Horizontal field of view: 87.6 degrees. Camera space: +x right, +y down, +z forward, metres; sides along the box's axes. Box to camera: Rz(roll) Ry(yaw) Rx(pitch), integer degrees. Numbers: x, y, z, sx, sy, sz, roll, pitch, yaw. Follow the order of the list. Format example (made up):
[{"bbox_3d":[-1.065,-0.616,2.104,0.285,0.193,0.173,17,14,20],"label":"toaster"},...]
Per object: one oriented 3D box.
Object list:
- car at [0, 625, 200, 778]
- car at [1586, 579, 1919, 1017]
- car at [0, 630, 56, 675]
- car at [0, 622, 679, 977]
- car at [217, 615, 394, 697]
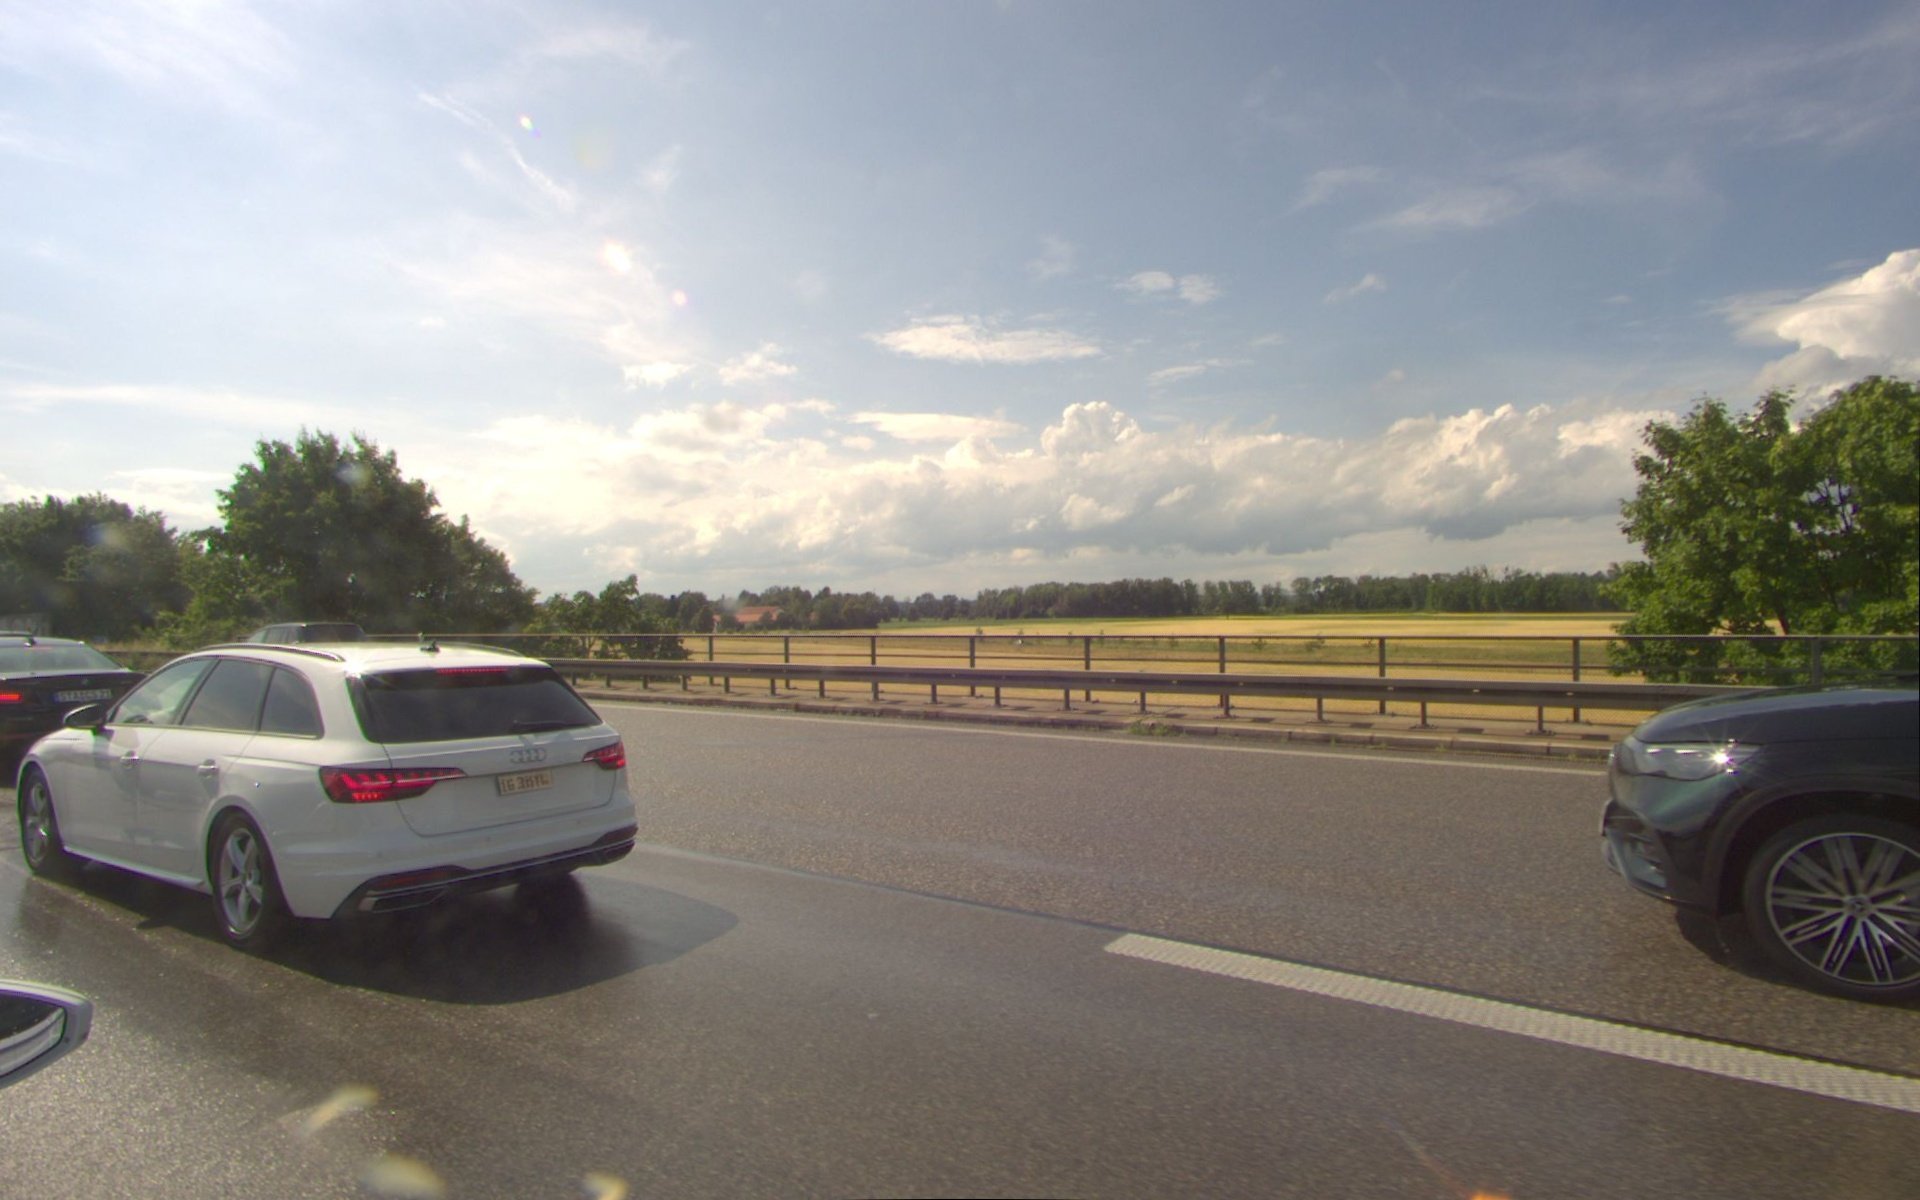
[{"bbox_3d":[-11.039,1.065,11.541,4.185,1.483,1.849,-1,-1,24],"label":"car"},{"bbox_3d":[5.100,0.718,3.762,4.590,1.601,1.988,-1,-1,35],"label":"car"},{"bbox_3d":[-34.813,1.899,36.565,3.946,1.588,1.844,-1,-2,35],"label":"car"},{"bbox_3d":[-3.931,0.923,6.082,4.448,1.443,1.824,-2,-3,33],"label":"car"},{"bbox_3d":[-14.565,1.188,22.205,4.305,1.641,1.816,-1,-2,35],"label":"car"}]
